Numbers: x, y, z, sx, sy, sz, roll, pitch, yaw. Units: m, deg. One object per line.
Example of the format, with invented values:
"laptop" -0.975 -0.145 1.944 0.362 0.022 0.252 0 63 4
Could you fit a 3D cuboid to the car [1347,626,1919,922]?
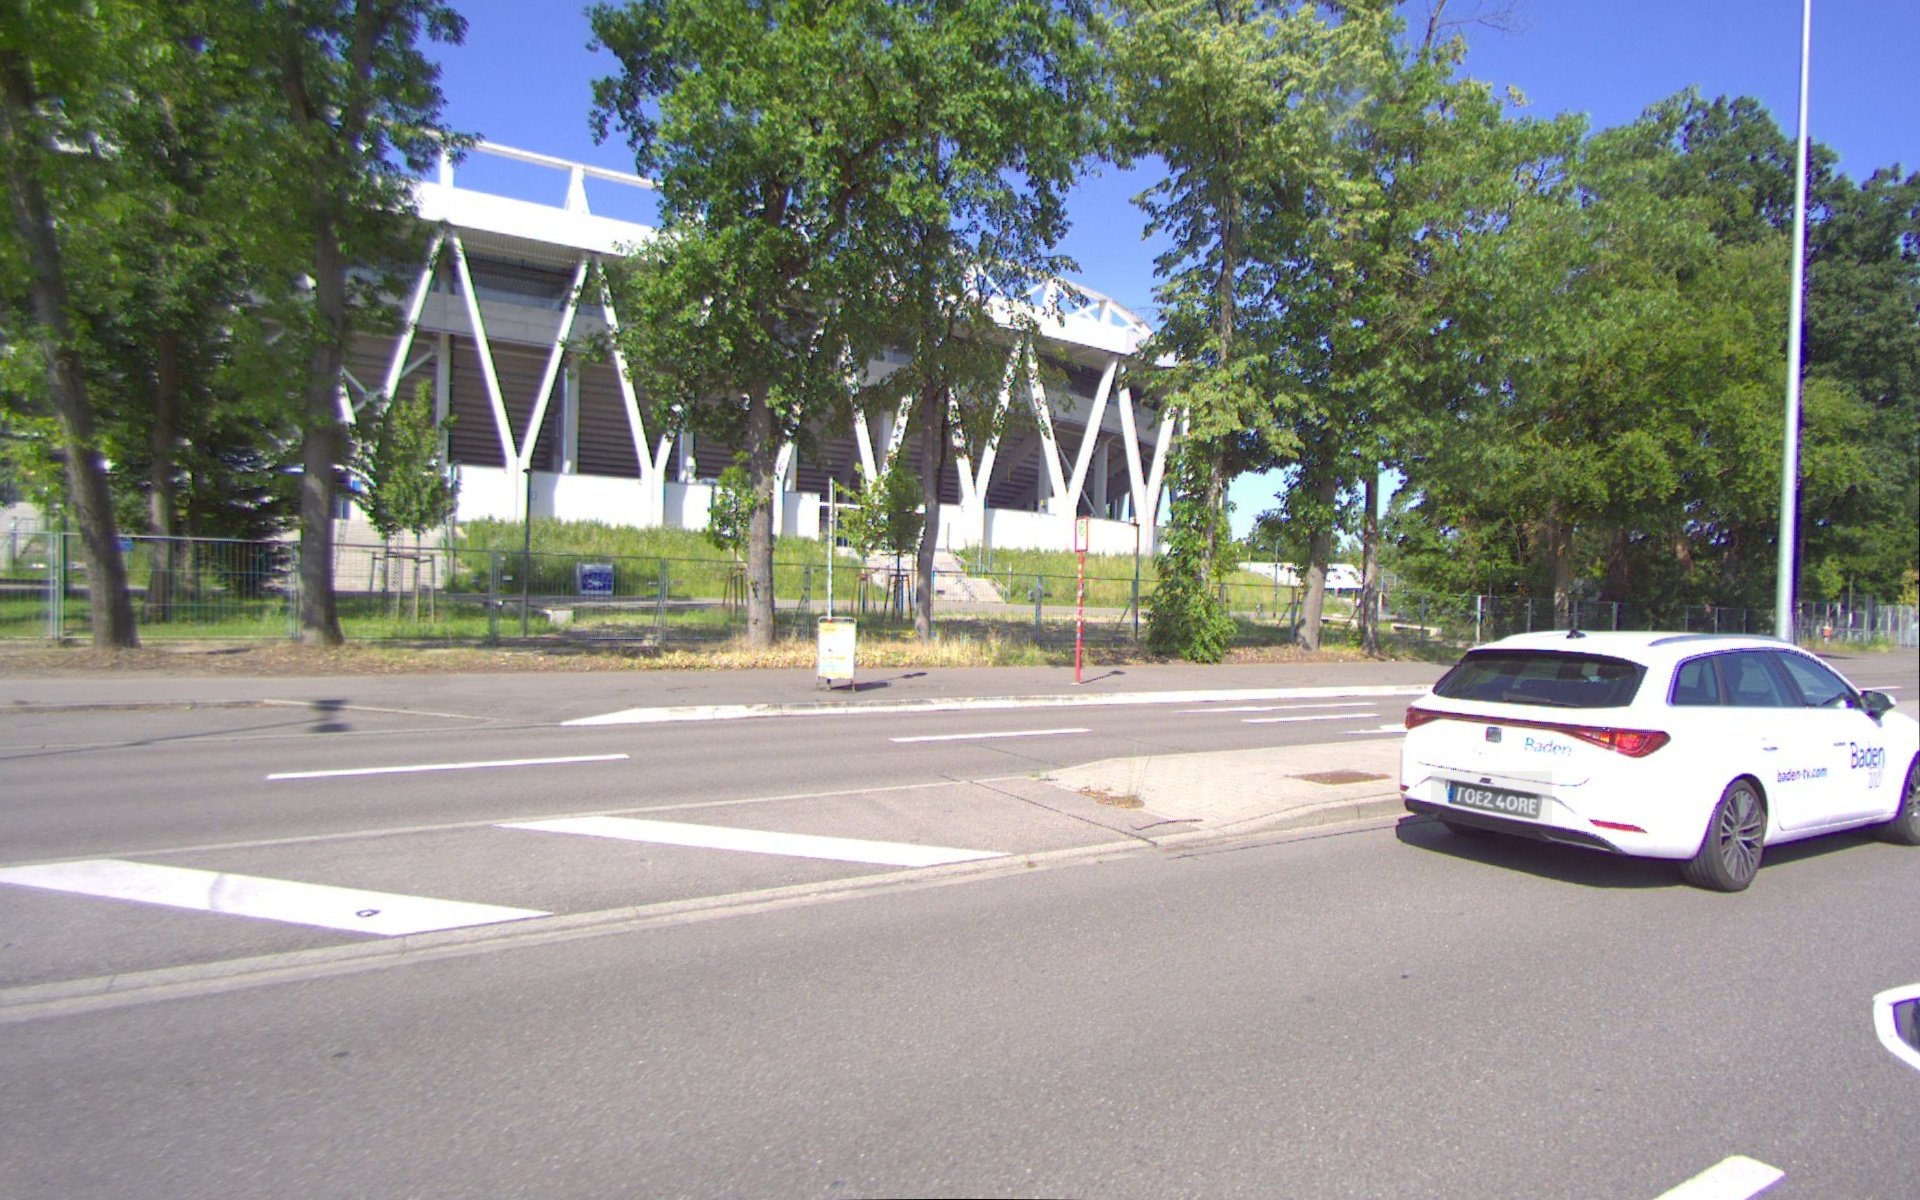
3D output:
"car" 4.952 0.932 6.945 4.664 1.446 1.717 1 -1 -30
